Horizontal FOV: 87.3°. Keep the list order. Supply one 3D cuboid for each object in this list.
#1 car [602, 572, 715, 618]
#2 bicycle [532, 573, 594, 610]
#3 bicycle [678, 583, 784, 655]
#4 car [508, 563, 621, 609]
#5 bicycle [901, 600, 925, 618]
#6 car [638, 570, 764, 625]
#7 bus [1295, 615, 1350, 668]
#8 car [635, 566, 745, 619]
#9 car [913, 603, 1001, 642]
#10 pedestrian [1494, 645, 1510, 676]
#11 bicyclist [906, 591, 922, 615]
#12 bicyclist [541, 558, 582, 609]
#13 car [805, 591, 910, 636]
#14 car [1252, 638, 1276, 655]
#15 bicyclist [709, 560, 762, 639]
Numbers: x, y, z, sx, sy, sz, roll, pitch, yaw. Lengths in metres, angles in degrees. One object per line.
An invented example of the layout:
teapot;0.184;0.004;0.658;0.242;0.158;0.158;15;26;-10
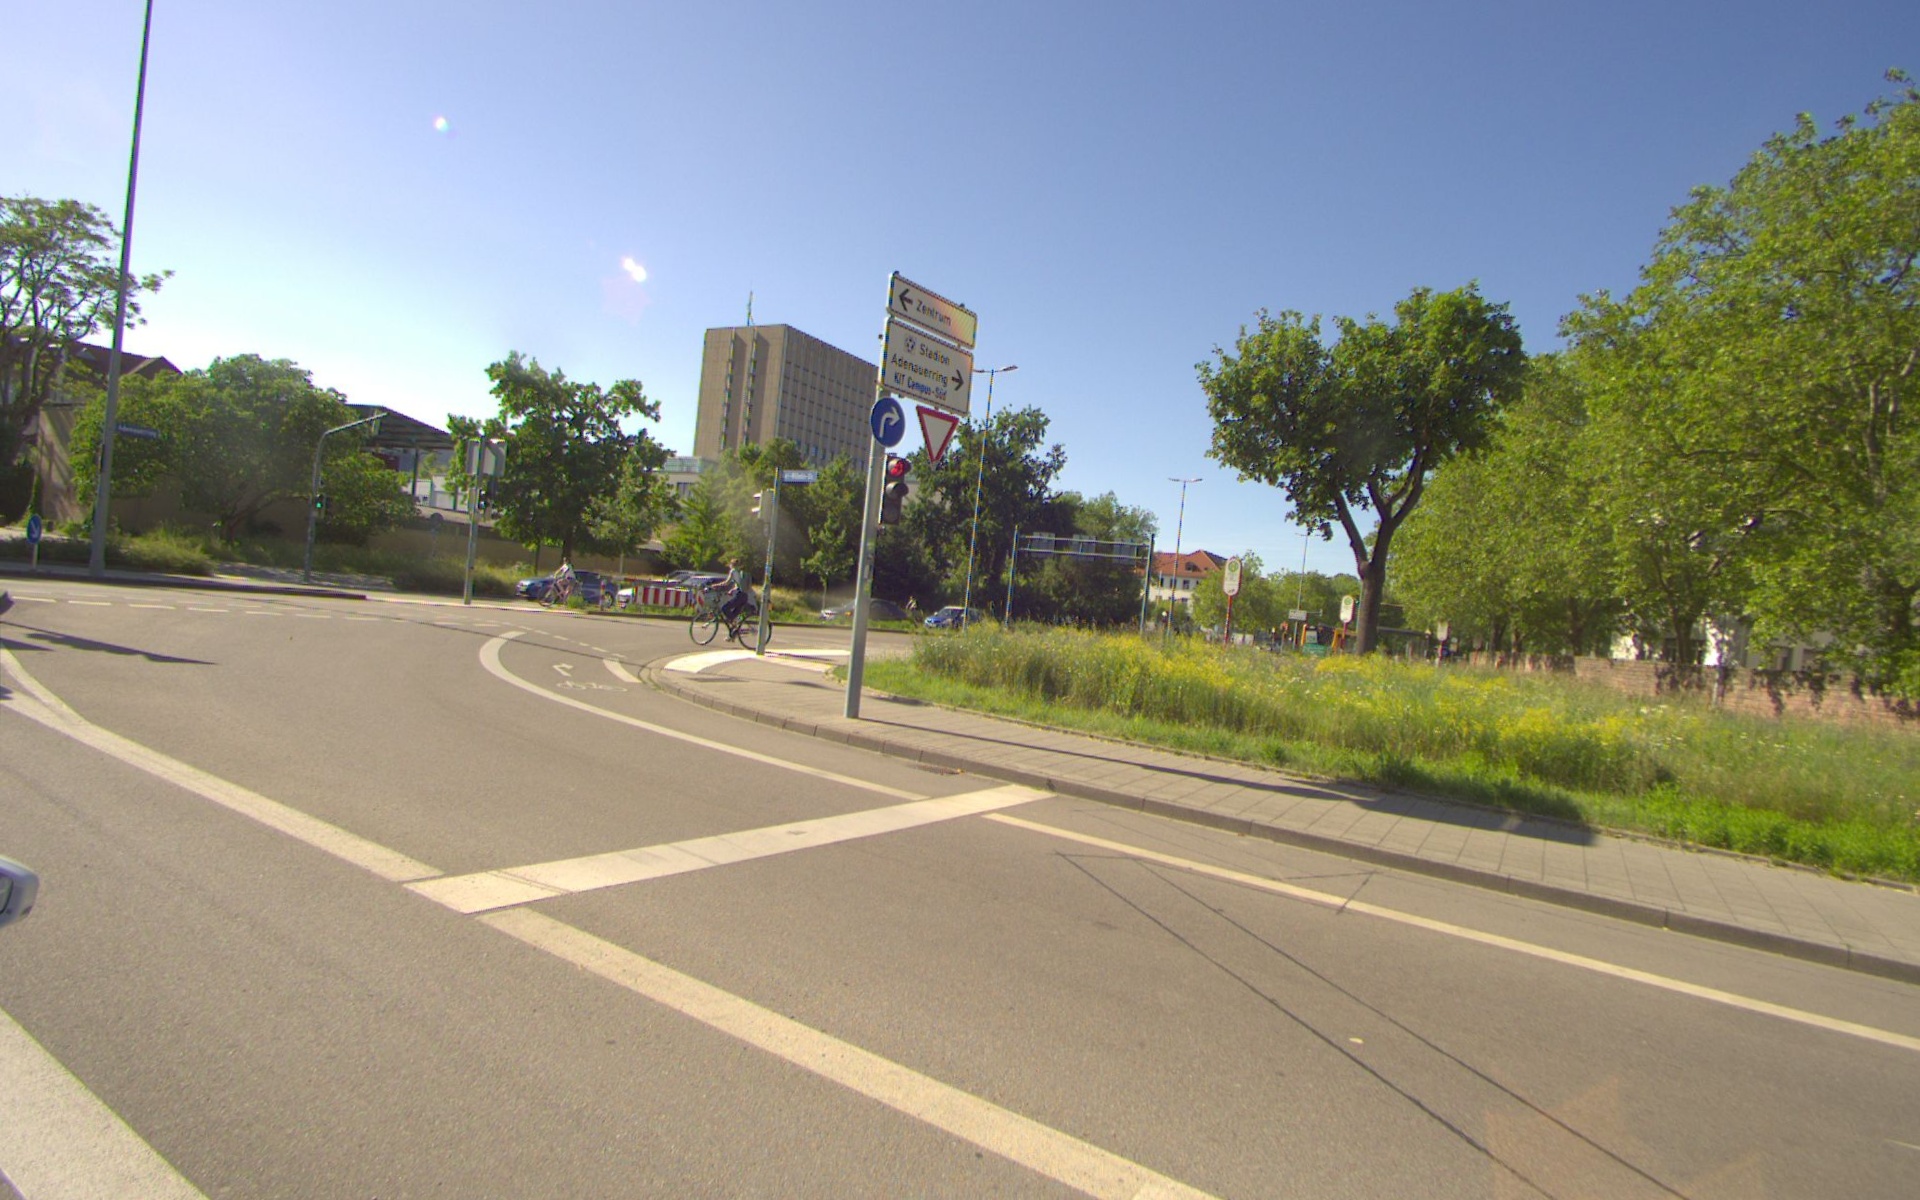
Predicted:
car;-12.475;-0.197;41.743;1.971;1.487;3.982;6;0;40
bicycle;-13.939;-0.288;35.349;0.736;1.180;1.864;7;2;33
bicycle;-4.535;0.363;20.006;1.836;1.180;0.642;7;2;-2
car;-16.204;-0.554;41.352;1.679;1.459;3.988;5;-1;35
bicycle;-3.377;0.637;72.795;0.632;1.180;1.951;9;3;32
car;-9.537;-0.055;37.344;1.762;1.644;4.303;5;-1;35
bus;27.346;3.185;75.752;2.935;3.310;6.255;7;-2;26
car;-12.517;-0.329;46.960;1.909;1.976;4.742;5;-1;35
car;-0.086;1.182;50.743;1.953;1.573;4.709;5;-1;35
pedestrian;30.544;3.424;56.708;0.642;1.630;0.558;7;-1;30
bicyclist;-3.324;0.207;72.787;0.621;1.617;0.830;10;4;32
bicyclist;-13.964;-0.571;35.258;0.734;1.707;0.974;7;2;34
car;-4.472;0.630;44.681;1.953;1.573;4.709;5;-1;35
car;35.707;5.477;118.185;1.905;1.821;4.357;5;-1;26
bicyclist;-4.450;-0.015;19.987;0.762;1.463;0.642;7;2;-2
